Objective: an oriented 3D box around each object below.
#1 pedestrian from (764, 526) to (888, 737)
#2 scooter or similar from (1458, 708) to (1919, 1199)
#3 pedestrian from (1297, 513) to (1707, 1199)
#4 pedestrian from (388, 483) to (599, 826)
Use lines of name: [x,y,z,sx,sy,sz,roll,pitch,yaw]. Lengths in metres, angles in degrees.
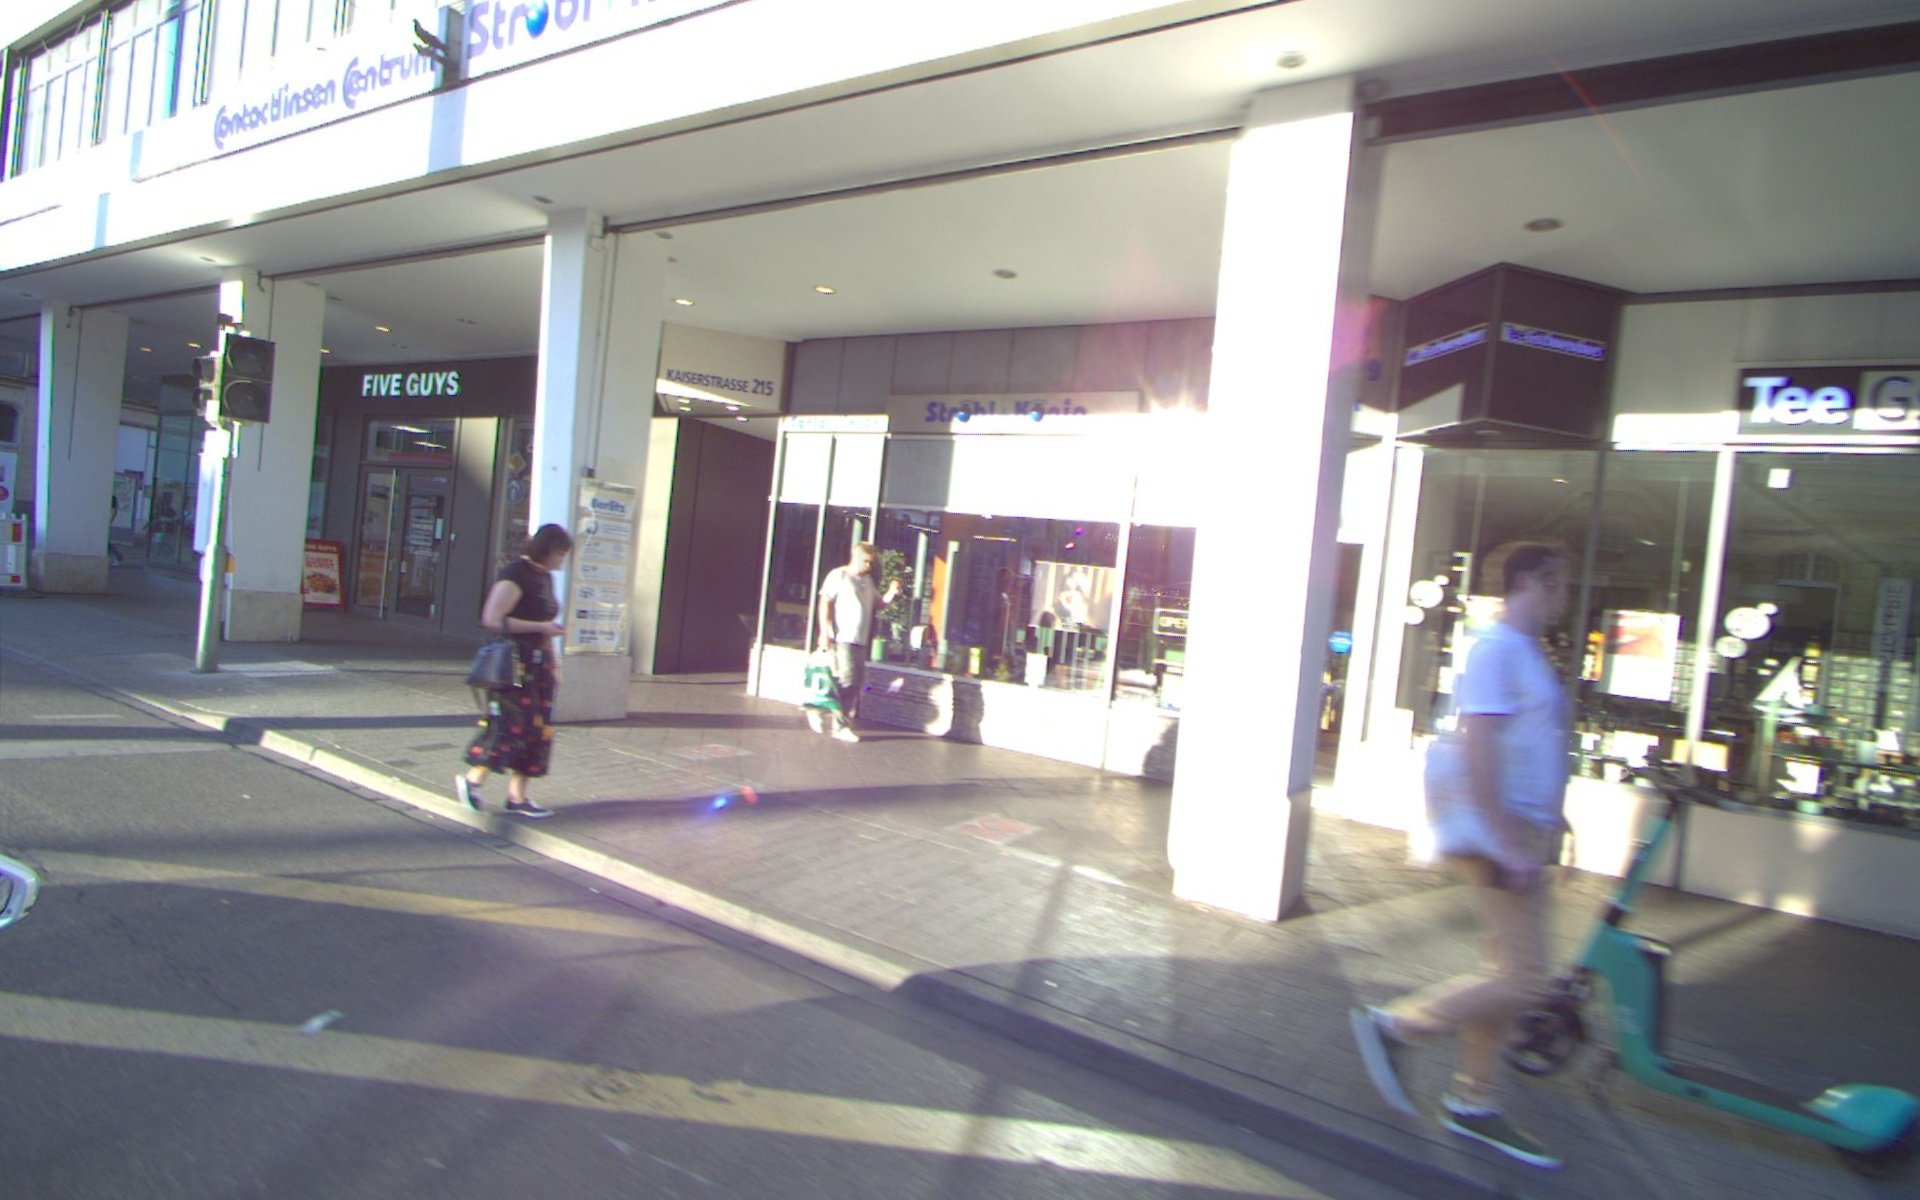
pedestrian: [-1.230,0.296,9.261,0.622,1.837,0.698,7,0,42]
scooter or similar: [2.429,1.085,3.416,1.160,1.250,0.505,7,1,31]
pedestrian: [1.663,0.719,3.179,0.837,1.837,0.701,7,0,28]
pedestrian: [-2.529,0.288,5.502,0.531,1.713,0.701,7,0,24]
